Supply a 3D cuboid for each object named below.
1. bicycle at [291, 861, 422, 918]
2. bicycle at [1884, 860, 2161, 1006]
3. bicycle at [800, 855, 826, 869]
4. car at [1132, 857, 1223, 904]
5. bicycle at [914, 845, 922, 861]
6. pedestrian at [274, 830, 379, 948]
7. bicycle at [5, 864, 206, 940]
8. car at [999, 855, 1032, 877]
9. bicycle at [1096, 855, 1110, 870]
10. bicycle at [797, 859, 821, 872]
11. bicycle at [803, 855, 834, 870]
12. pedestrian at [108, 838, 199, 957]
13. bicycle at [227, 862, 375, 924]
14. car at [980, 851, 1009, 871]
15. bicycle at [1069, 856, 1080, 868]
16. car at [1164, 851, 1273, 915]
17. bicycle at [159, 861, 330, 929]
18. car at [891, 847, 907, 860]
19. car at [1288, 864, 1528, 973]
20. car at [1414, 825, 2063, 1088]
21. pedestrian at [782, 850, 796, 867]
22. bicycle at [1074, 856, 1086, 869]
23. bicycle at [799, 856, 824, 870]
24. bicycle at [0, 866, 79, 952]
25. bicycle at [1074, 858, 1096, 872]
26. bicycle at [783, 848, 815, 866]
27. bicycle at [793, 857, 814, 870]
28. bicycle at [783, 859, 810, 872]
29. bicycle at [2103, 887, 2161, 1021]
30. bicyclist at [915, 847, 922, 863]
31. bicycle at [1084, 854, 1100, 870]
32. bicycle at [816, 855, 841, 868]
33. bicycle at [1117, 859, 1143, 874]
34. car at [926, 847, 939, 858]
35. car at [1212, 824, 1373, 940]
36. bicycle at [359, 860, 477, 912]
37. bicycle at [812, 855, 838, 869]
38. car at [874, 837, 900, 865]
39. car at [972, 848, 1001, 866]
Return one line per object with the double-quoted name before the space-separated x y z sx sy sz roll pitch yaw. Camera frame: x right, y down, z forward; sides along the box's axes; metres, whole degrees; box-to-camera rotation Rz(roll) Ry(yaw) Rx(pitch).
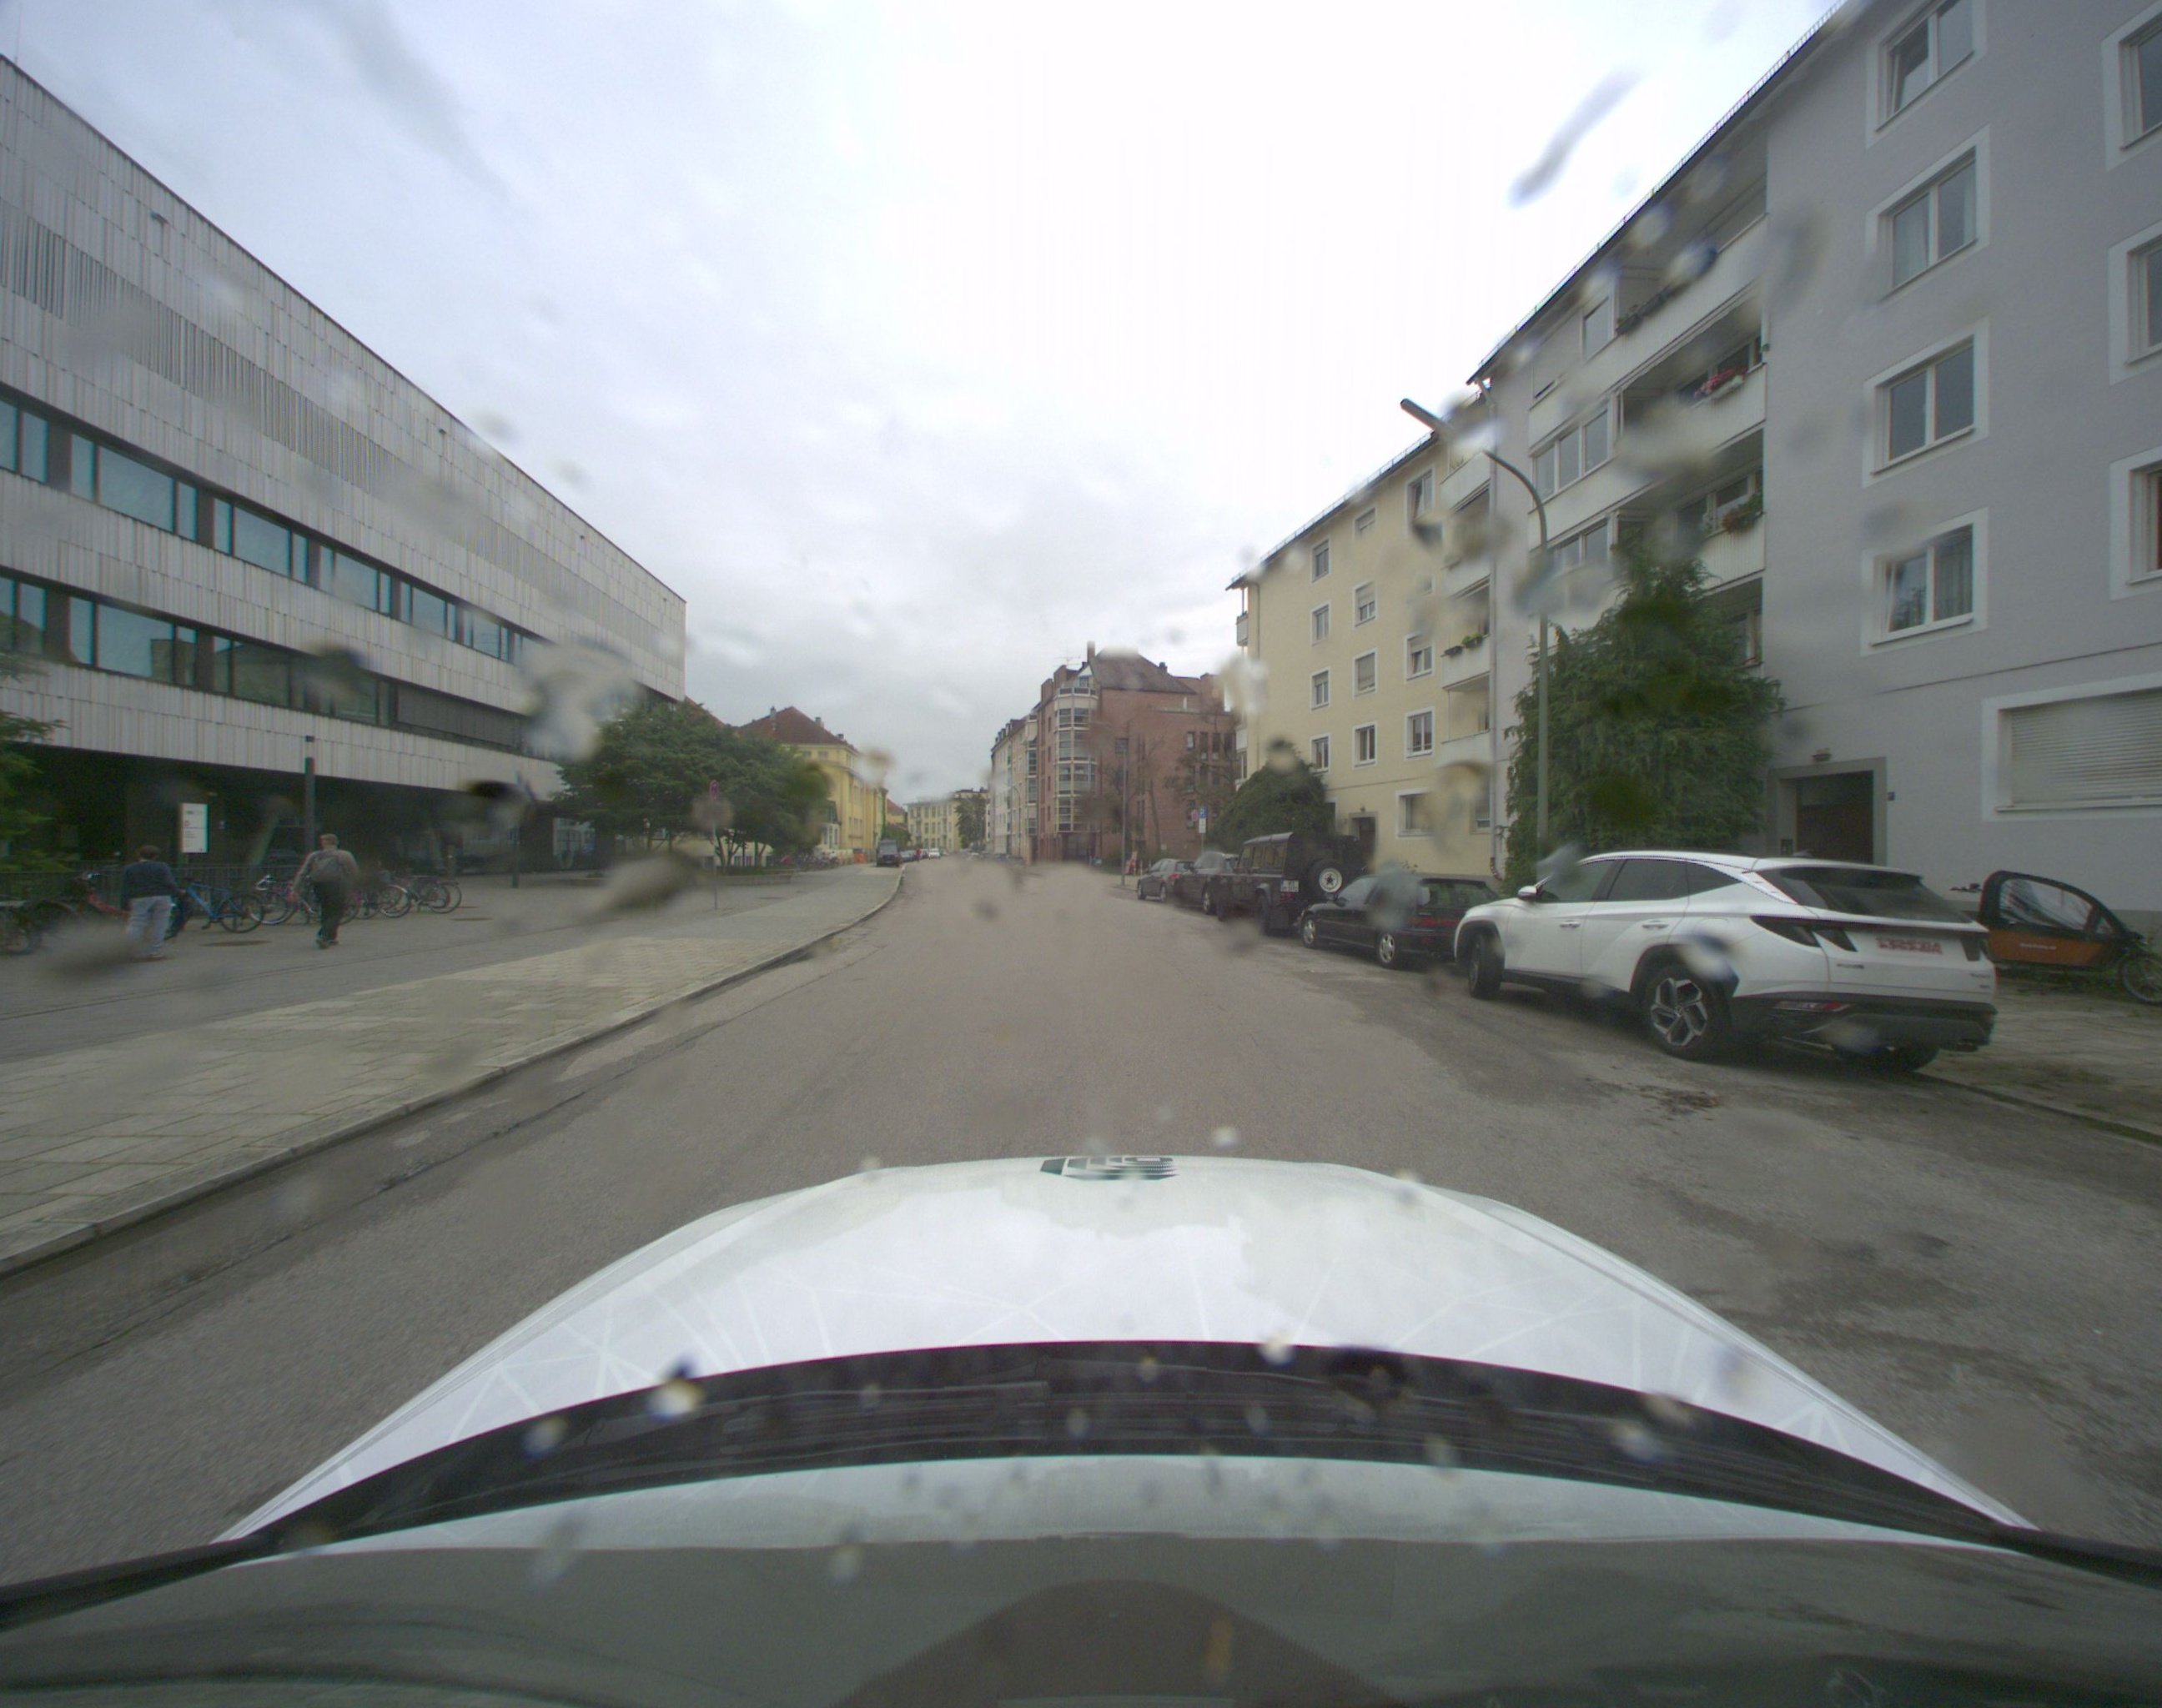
"bicycle" -15.480 0.759 17.446 2.045 1.111 0.615 2 0 -10
"bicycle" 10.711 0.777 9.141 0.742 1.367 2.465 -3 1 -7
"bicycle" -21.626 0.622 65.676 1.862 1.029 0.539 2 0 -3
"car" 3.101 0.836 27.082 1.756 1.396 4.027 2 -1 -12
"bicycle" -20.697 -0.165 103.495 0.747 2.013 2.841 -1 1 -7
"pedestrian" -11.903 0.538 12.887 0.788 1.782 1.009 2 -1 -18
"bicycle" -15.457 0.767 12.959 2.048 1.111 0.614 2 0 -14
"car" -5.177 0.909 63.468 1.927 1.512 4.373 2 0 -13
"bicycle" 1.699 0.668 62.687 0.416 1.173 1.370 3 1 32
"bicycle" -20.940 0.884 62.706 1.670 0.916 0.595 2 0 -3
"bicycle" -21.566 0.732 66.979 2.305 1.135 0.581 2 0 -3
"pedestrian" -12.933 0.590 11.377 0.647 1.601 0.600 2 1 -32
"bicycle" -15.210 0.761 15.923 2.045 1.111 0.615 2 0 -10
"car" -7.837 0.608 73.741 1.834 1.602 4.243 2 1 -16
"bicycle" -0.588 0.715 71.571 0.487 1.060 1.985 2 -1 -15
"car" 3.692 0.726 22.682 1.657 1.565 4.502 2 0 -8
"bicycle" -14.737 0.718 14.403 2.048 1.111 0.614 2 0 -14
"car" -23.822 -0.032 106.729 1.772 1.550 3.765 2 1 -10
"car" 4.750 0.868 12.442 1.658 1.349 3.791 2 -1 -10
"car" 5.286 0.653 7.616 2.024 1.678 4.603 2 1 -7
"pedestrian" -21.156 0.294 58.961 0.717 1.163 1.038 2 1 -8
"bicycle" -0.077 0.762 71.706 0.487 1.060 1.986 2 0 -15
"bicycle" -21.302 0.710 64.431 1.786 1.033 0.507 2 0 -3
"bicycle" -15.389 0.731 11.300 2.041 1.111 0.616 2 0 -4
"bicycle" 0.331 0.927 70.076 1.846 1.147 0.487 2 0 -7
"bicycle" -21.093 0.233 60.951 2.100 1.227 0.786 2 0 -3
"bicycle" -20.227 0.697 59.390 1.370 0.862 0.438 2 0 -7
"bicycle" -20.392 0.795 58.379 1.717 0.862 0.438 2 0 -7
"bicycle" 10.184 0.899 6.899 0.579 1.158 1.816 -2 0 -28
"bicyclist" -20.652 0.107 103.518 0.766 2.013 0.766 -3 1 -8
"bicycle" 0.856 0.633 64.311 0.535 1.248 2.398 2 -1 -18
"bicycle" -22.089 0.650 71.341 1.900 1.092 0.677 2 0 -3
"bicycle" 3.412 0.843 56.372 1.702 0.965 0.544 2 0 -13
"car" -24.127 -0.253 132.184 2.027 1.621 4.487 -1 -1 -12
"car" 4.249 0.481 17.167 1.745 2.081 4.506 2 1 -6
"bicycle" -15.415 0.750 18.974 2.045 1.111 0.615 2 0 -10
"bicycle" -21.909 0.666 69.716 1.952 1.131 0.572 2 0 -3
"car" -19.268 -0.274 80.734 2.425 2.715 5.924 -1 0 -14
"car" -9.157 0.277 78.848 1.968 1.602 4.646 2 1 -16
